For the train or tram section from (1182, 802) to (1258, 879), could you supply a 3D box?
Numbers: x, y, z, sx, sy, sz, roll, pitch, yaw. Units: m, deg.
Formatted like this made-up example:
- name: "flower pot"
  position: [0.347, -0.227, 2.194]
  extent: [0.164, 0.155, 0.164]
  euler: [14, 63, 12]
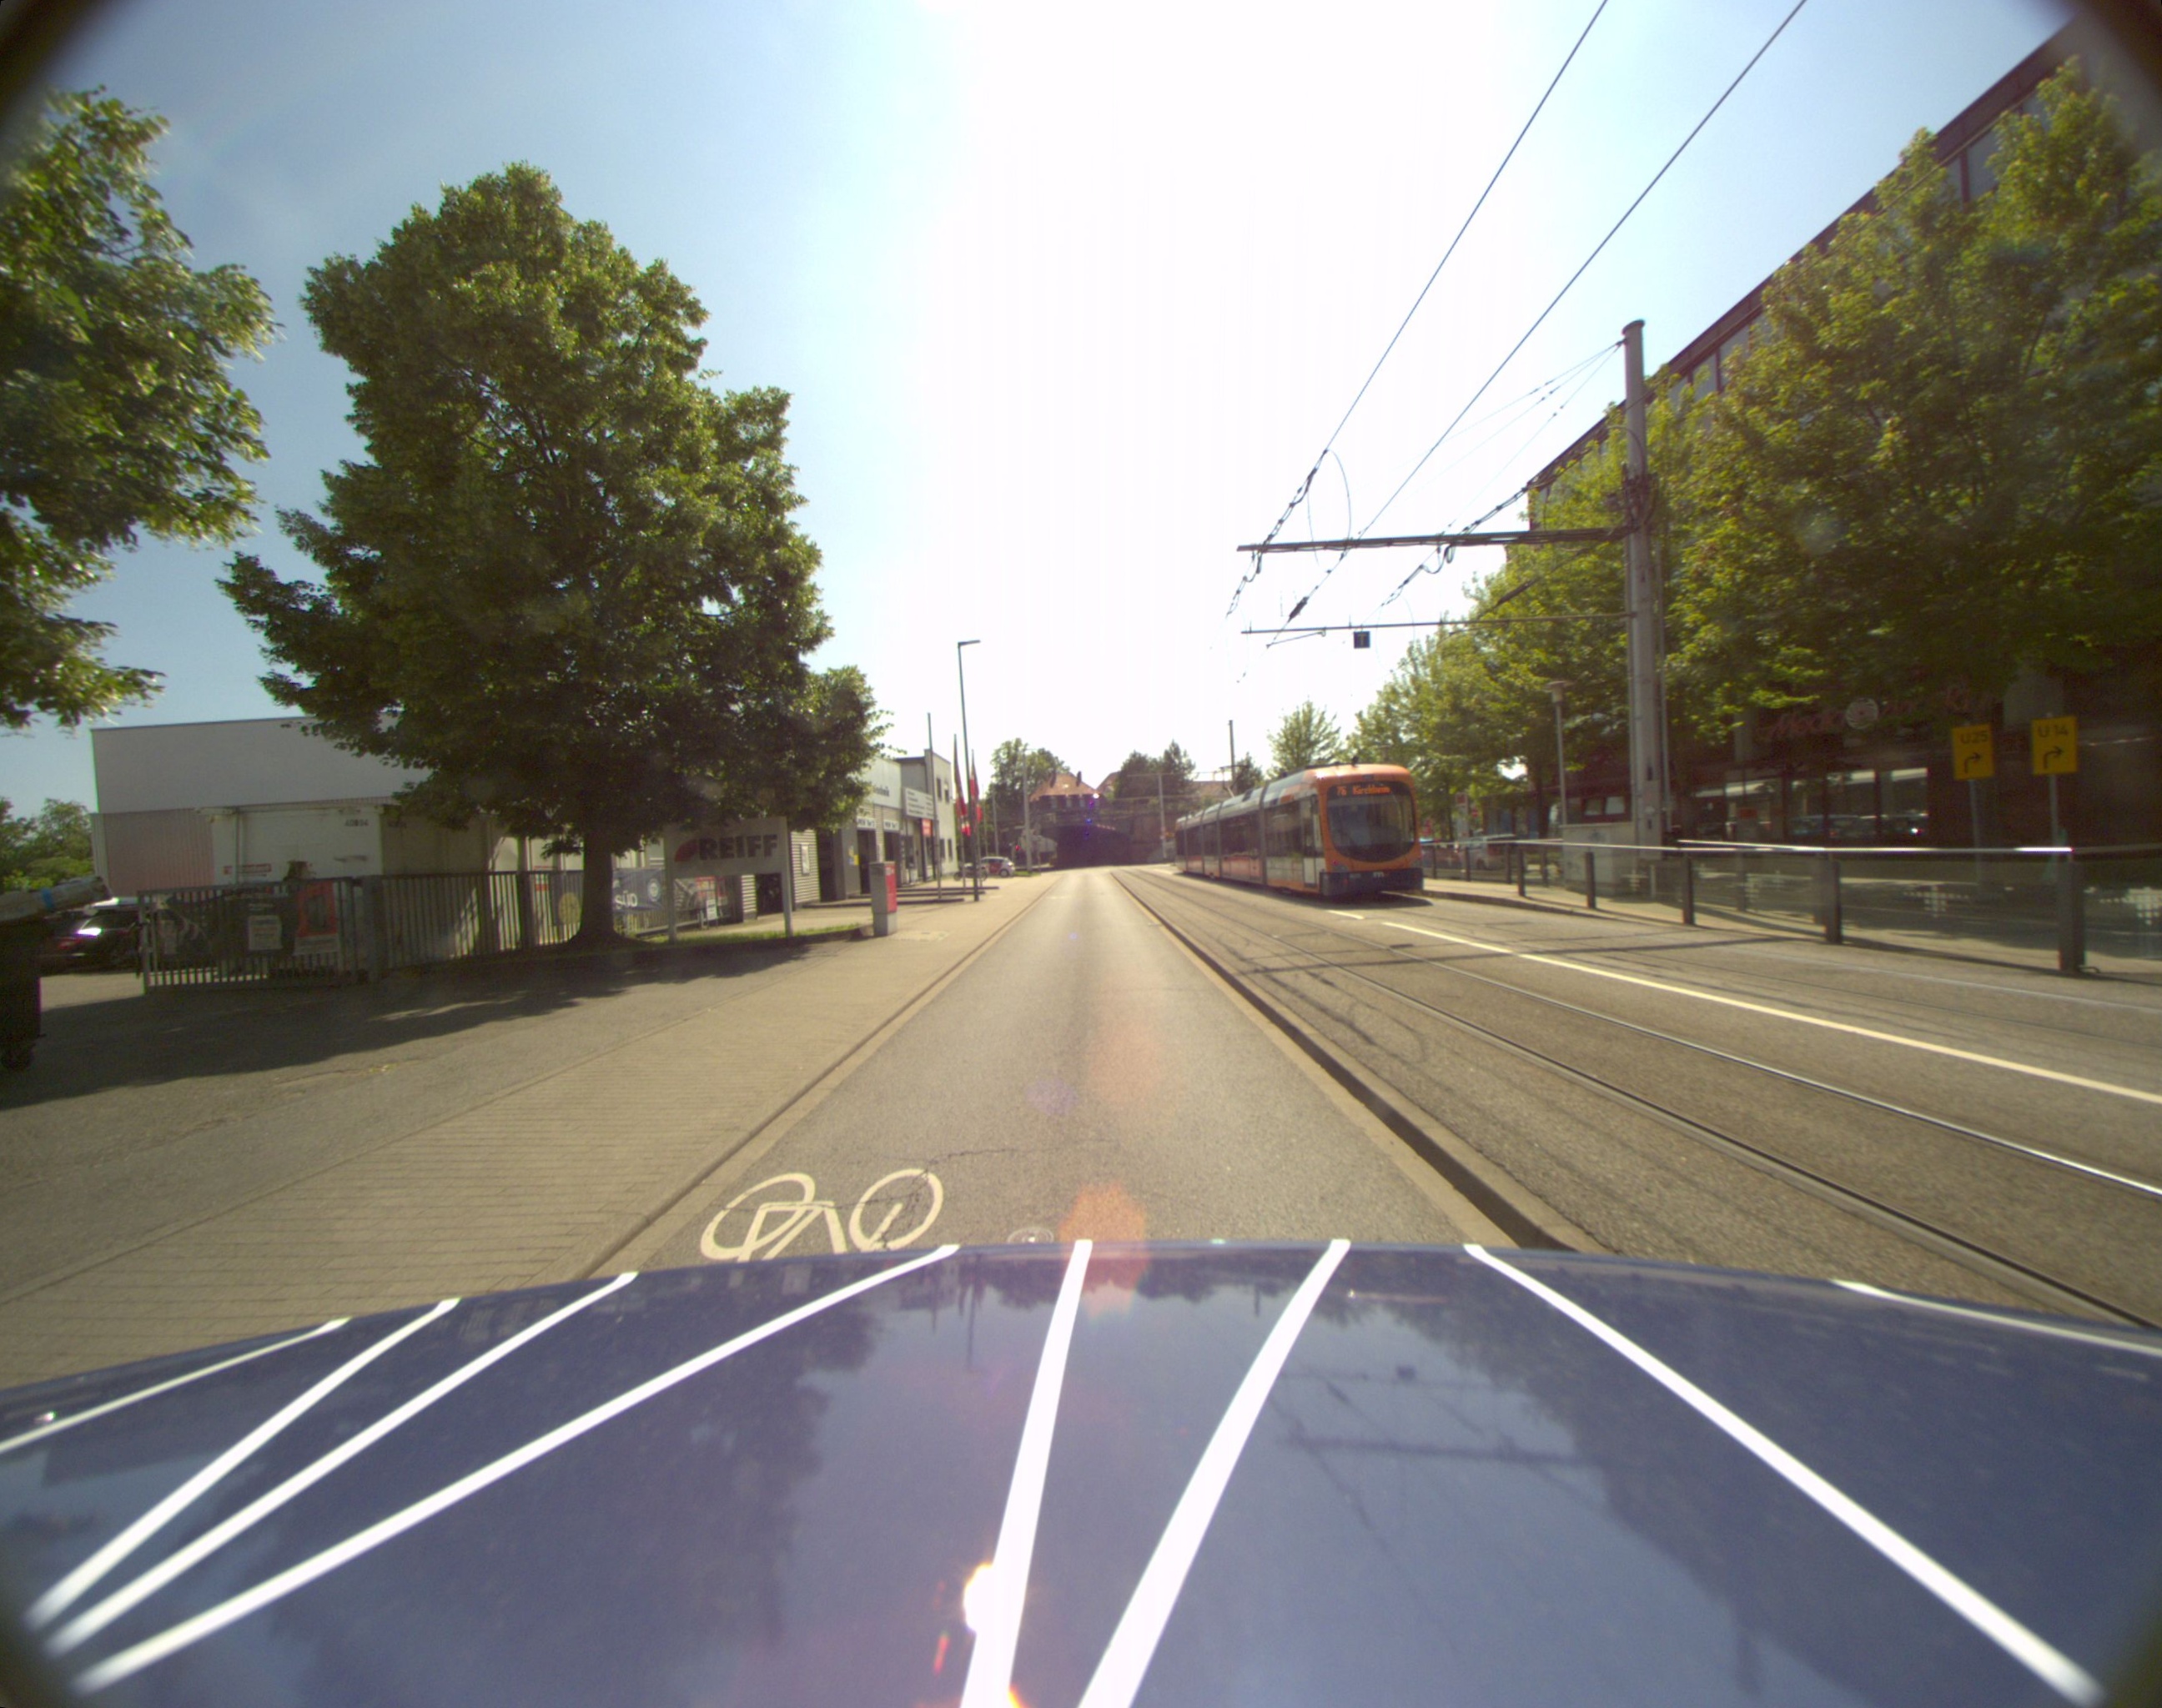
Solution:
- name: "train or tram section"
  position: [6.842, -0.636, 38.237]
  extent: [2.617, 3.427, 5.843]
  euler: [-3, 0, 0]

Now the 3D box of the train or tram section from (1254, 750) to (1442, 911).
- name: "train or tram section"
  position: [6.610, -0.541, 19.937]
  extent: [2.586, 3.427, 6.362]
  euler: [-3, 0, 0]

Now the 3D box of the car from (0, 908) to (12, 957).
- name: "car"
  position: [-41.849, 3.046, 27.364]
  extent: [3.997, 1.776, 1.838]
  euler: [-5, -1, 0]

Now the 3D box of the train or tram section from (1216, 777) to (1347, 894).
- name: "train or tram section"
  position: [6.743, -0.578, 26.701]
  extent: [2.586, 3.427, 7.136]
  euler: [-3, 0, 0]

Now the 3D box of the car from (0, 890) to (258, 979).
- name: "car"
  position: [-23.825, 1.916, 19.056]
  extent: [1.836, 1.776, 4.001]
  euler: [-5, -1, 1]

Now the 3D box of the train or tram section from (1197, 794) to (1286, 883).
- name: "train or tram section"
  position: [6.782, -0.619, 32.783]
  extent: [2.617, 3.427, 5.010]
  euler: [-3, 1, 0]

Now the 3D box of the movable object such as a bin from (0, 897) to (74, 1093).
- name: "movable object such as a bin"
  position: [-9.214, 1.191, 5.851]
  extent: [0.981, 1.538, 1.320]
  euler: [-4, 2, -3]

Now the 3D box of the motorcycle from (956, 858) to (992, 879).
- name: "motorcycle"
  position: [-6.850, 0.910, 48.785]
  extent: [2.189, 1.301, 0.731]
  euler: [0, 2, -1]

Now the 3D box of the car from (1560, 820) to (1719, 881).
- name: "car"
  position: [16.211, -0.116, 22.343]
  extent: [1.764, 1.510, 4.000]
  euler: [-4, 0, 2]

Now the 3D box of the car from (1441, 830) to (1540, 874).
- name: "car"
  position: [15.710, -0.076, 29.394]
  extent: [1.727, 1.455, 3.904]
  euler: [-5, 0, 2]

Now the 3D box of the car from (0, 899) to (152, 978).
- name: "car"
  position: [-26.656, 2.162, 18.964]
  extent: [1.836, 1.776, 4.001]
  euler: [-5, -1, 1]

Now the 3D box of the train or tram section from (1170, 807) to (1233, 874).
- name: "train or tram section"
  position: [6.881, -0.754, 44.044]
  extent: [2.617, 3.512, 5.742]
  euler: [-3, 0, 0]

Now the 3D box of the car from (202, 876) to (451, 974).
- name: "car"
  position: [-17.820, 1.578, 18.274]
  extent: [1.836, 1.916, 4.001]
  euler: [-4, -1, 1]

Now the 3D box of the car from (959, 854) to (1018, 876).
- name: "car"
  position: [-6.564, 0.775, 54.358]
  extent: [3.997, 1.454, 1.889]
  euler: [0, 1, -1]

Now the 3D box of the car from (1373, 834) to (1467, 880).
- name: "car"
  position: [12.707, 0.094, 28.749]
  extent: [1.727, 1.575, 4.071]
  euler: [-1, 0, 0]
